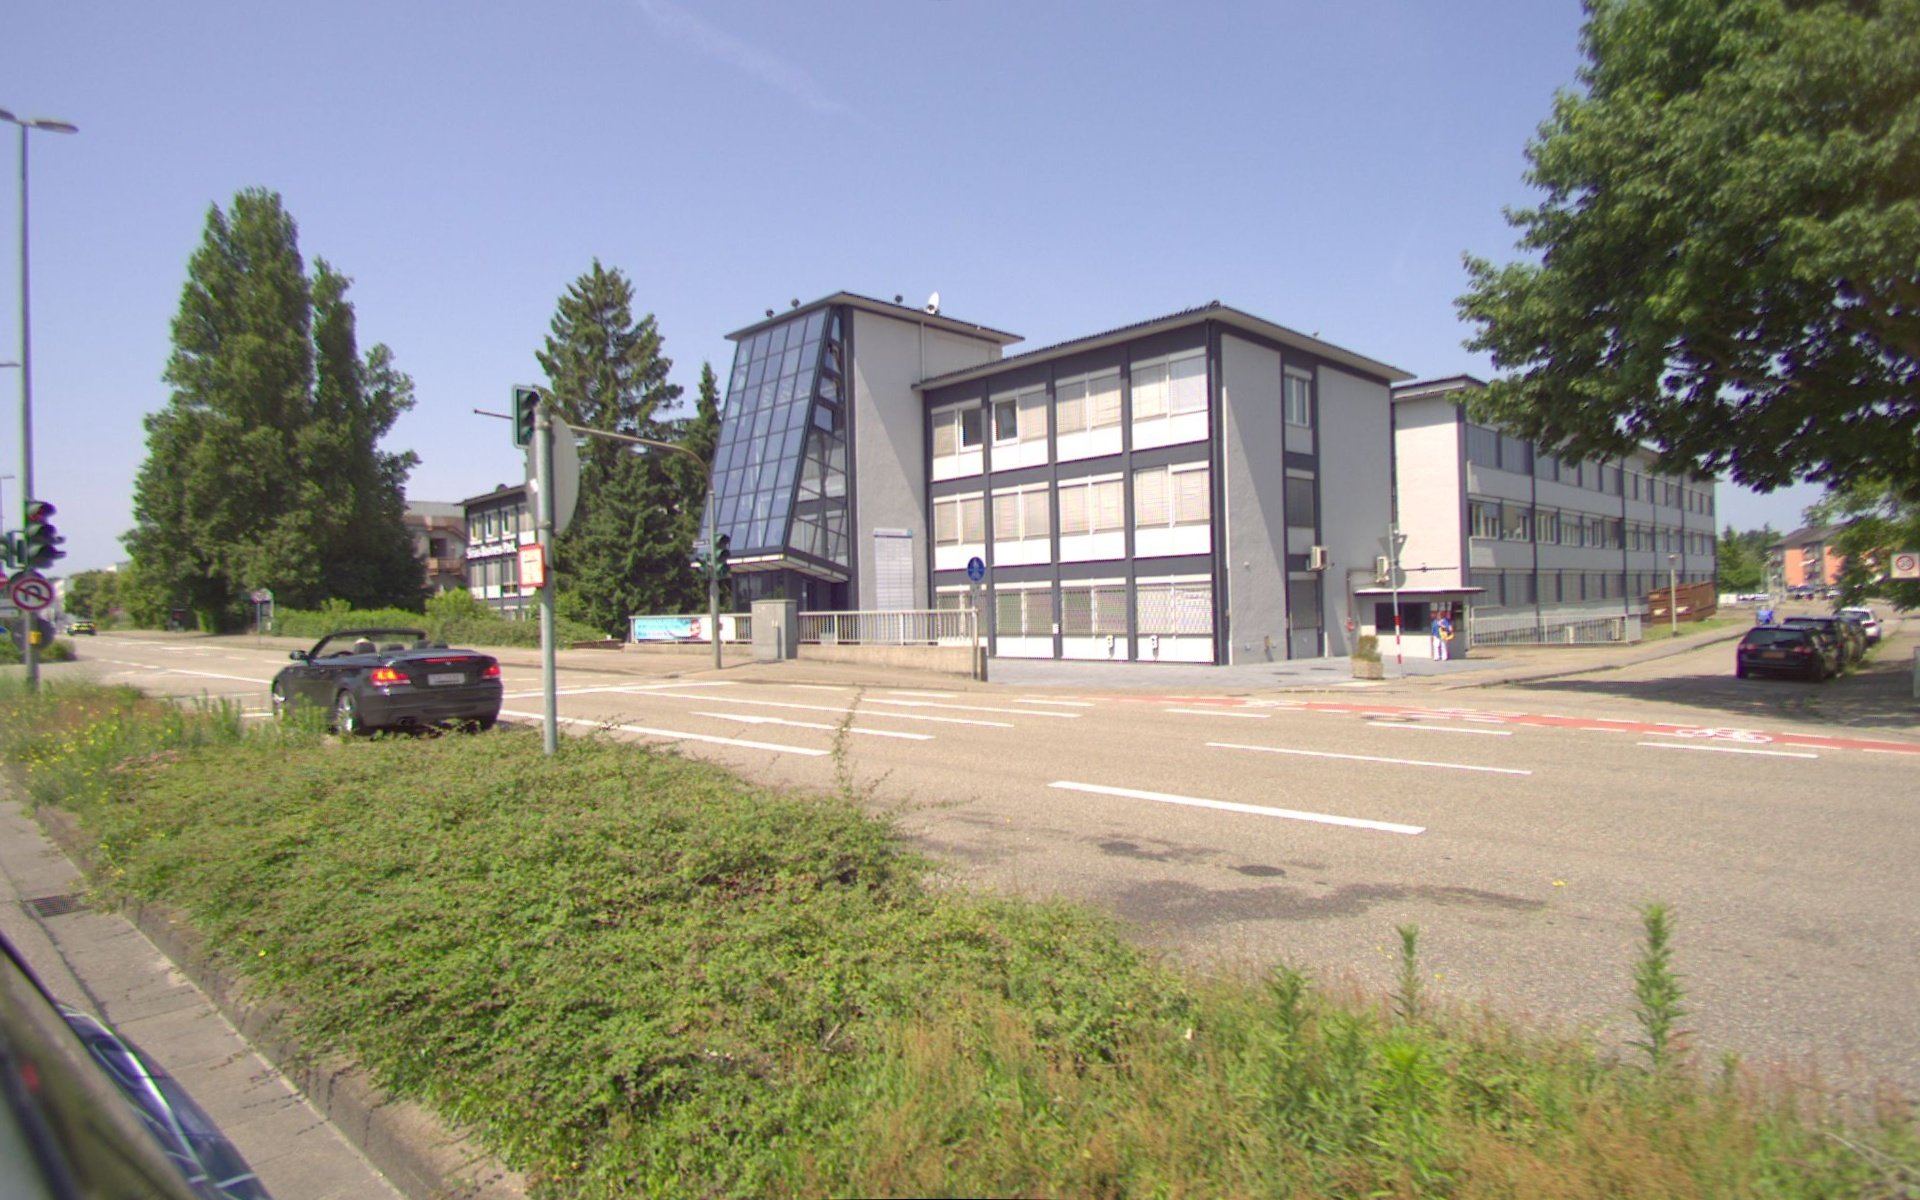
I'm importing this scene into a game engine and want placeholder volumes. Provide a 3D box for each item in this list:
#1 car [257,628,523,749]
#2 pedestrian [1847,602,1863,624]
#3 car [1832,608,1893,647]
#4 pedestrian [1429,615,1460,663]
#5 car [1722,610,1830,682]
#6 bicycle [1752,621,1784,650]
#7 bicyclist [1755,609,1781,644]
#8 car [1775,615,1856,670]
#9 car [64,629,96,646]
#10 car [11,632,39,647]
[{"bbox_3d":[-7.564,1.044,13.273,4.146,1.334,1.711,-2,-2,40],"label":"car"},{"bbox_3d":[63.051,0.895,71.314,0.695,1.529,0.650,-1,-2,28],"label":"pedestrian"},{"bbox_3d":[37.872,1.141,42.425,1.719,1.586,3.942,-2,-2,44],"label":"car"},{"bbox_3d":[16.707,1.338,34.923,0.857,1.637,0.677,-1,-2,33],"label":"pedestrian"},{"bbox_3d":[21.585,1.147,26.720,1.920,1.607,3.944,-2,1,43],"label":"car"},{"bbox_3d":[33.098,1.442,41.445,0.783,1.122,2.150,-2,-2,44],"label":"bicycle"},{"bbox_3d":[33.121,1.099,41.472,0.745,1.420,0.848,-2,-2,44],"label":"bicyclist"},{"bbox_3d":[25.980,1.247,30.691,1.716,1.541,3.944,-2,-2,42],"label":"car"},{"bbox_3d":[-85.814,3.619,98.719,4.286,1.572,1.873,-2,-2,42],"label":"car"},{"bbox_3d":[-95.267,4.003,103.121,4.091,1.429,1.740,-1,-1,42],"label":"car"}]
